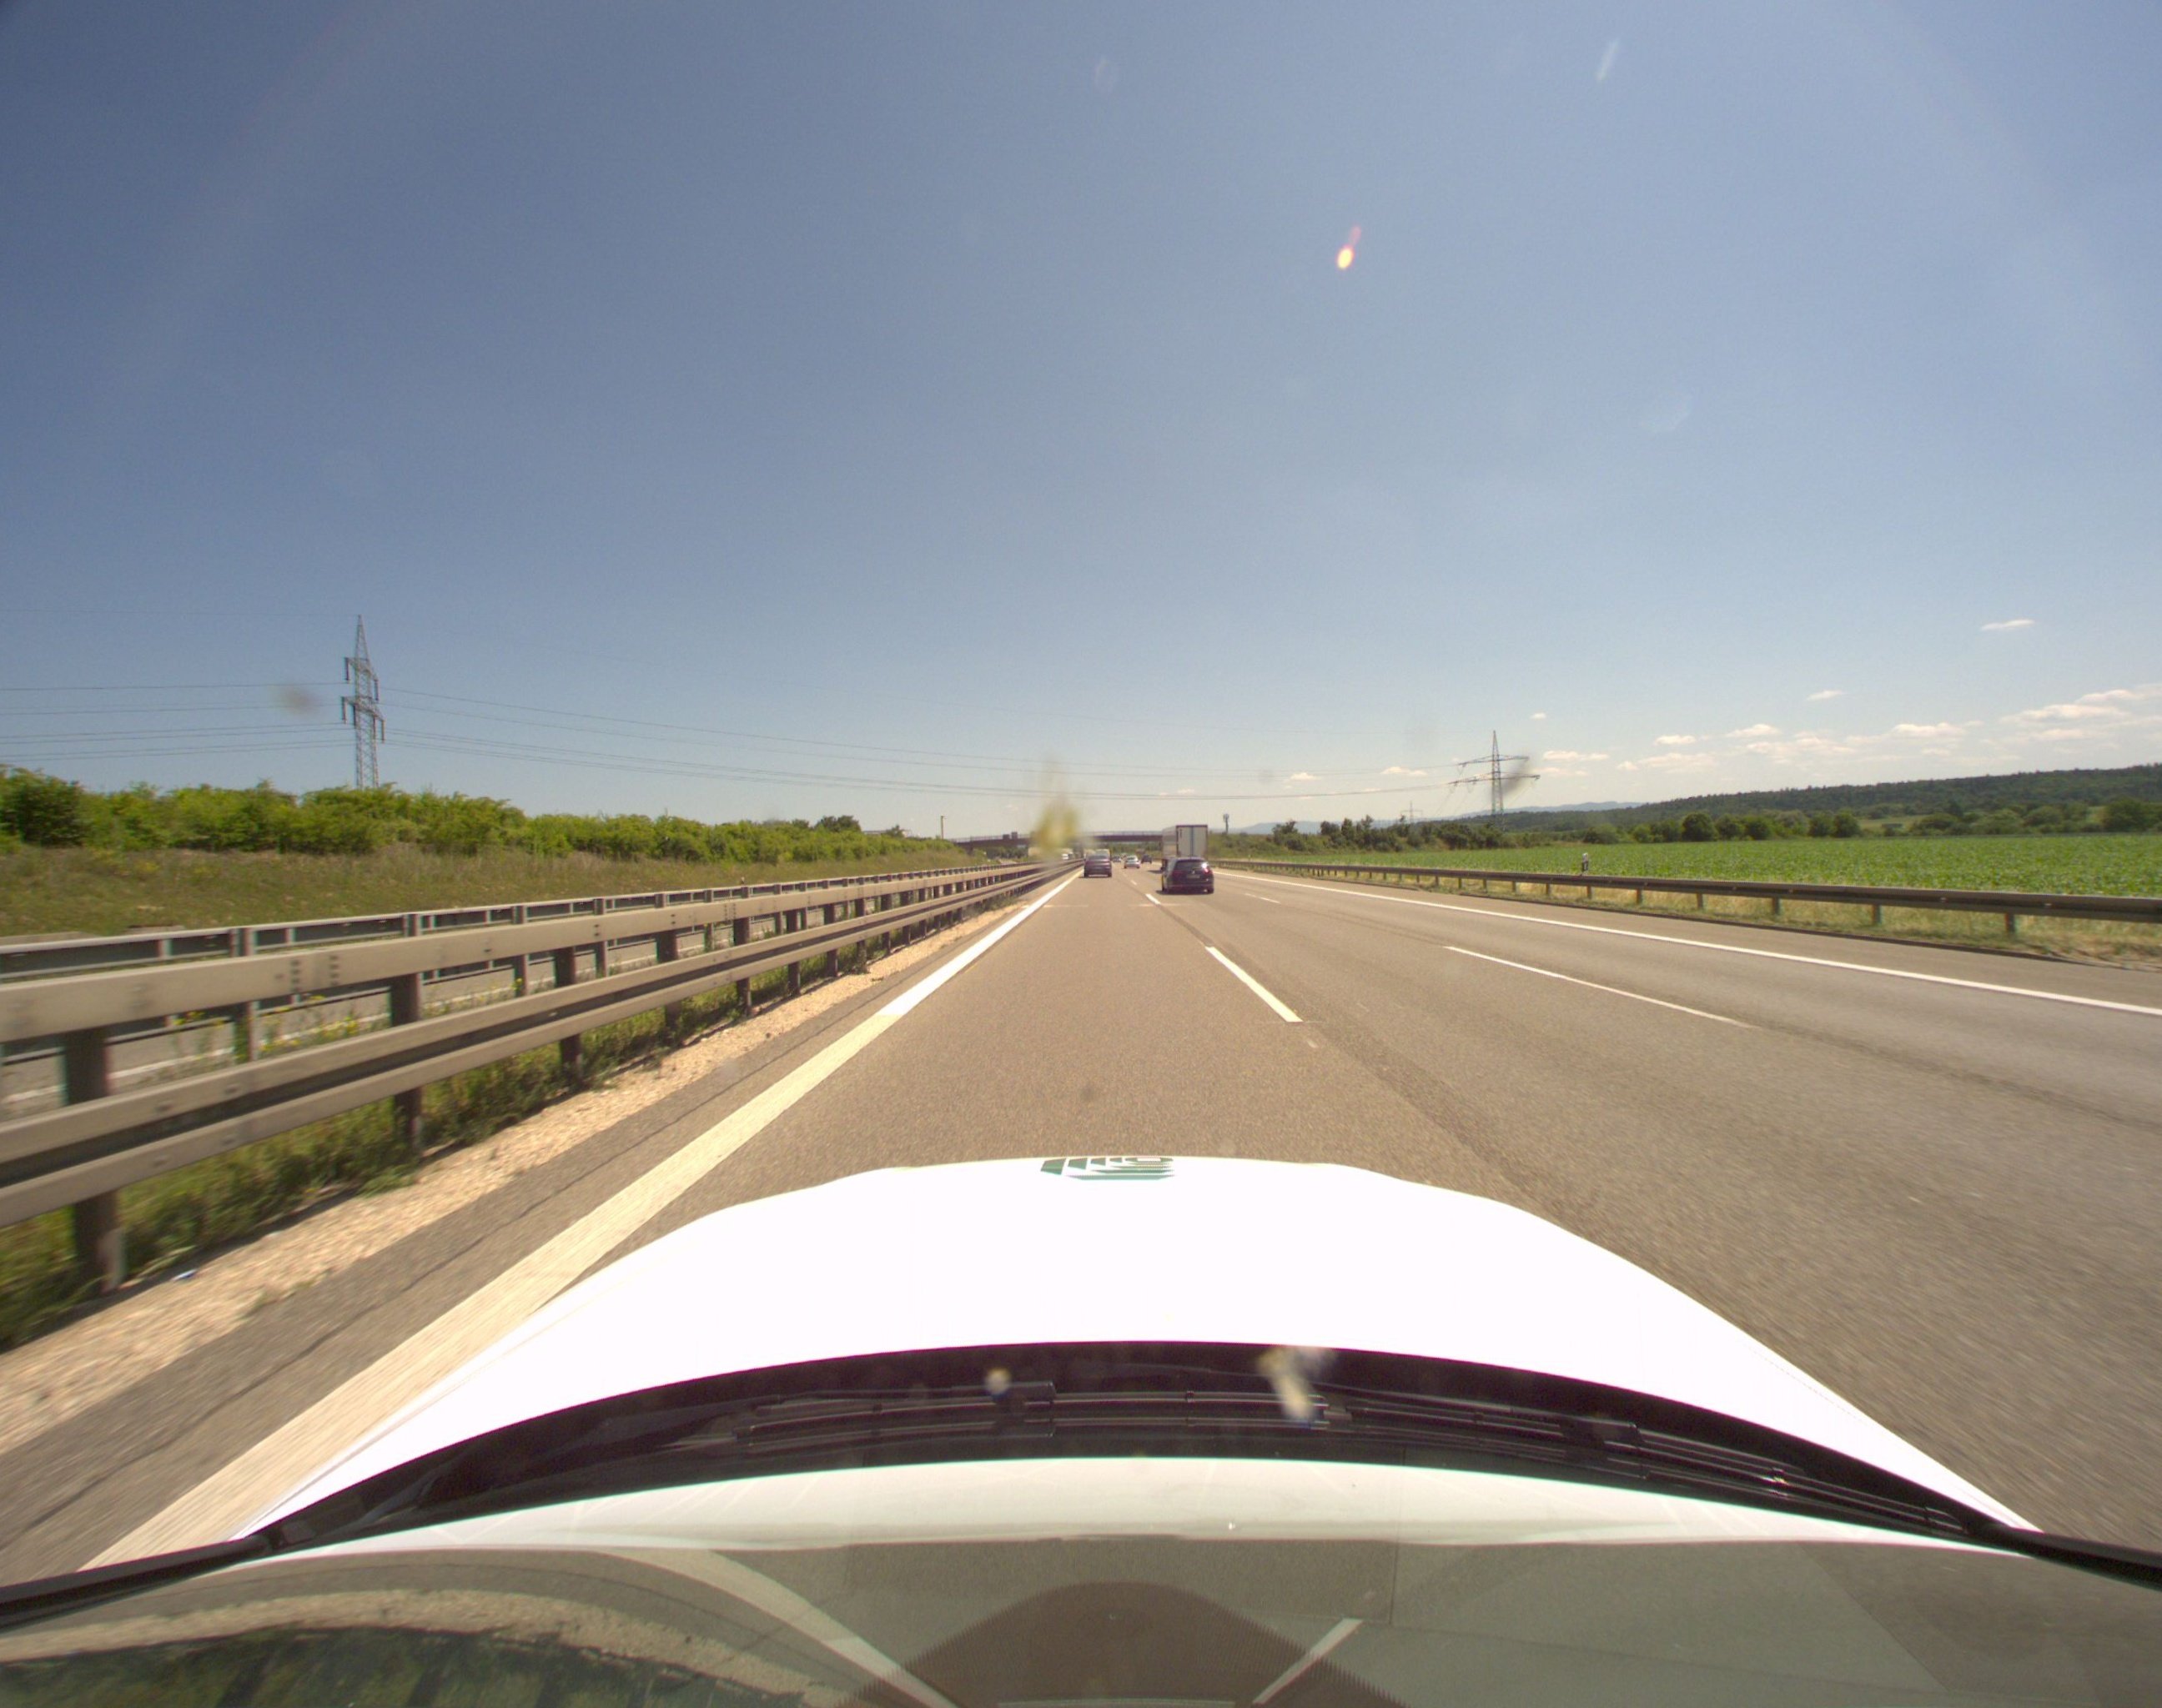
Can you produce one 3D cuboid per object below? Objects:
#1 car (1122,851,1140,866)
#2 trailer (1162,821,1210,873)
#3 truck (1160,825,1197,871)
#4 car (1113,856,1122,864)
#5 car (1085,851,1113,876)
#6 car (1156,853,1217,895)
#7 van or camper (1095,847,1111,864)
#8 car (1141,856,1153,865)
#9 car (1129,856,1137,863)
[{"bbox_3d":[5.853,0.487,95.806,1.986,1.683,4.001,0,0,2],"label":"car"},{"bbox_3d":[9.230,-0.549,73.117,2.932,4.198,13.601,0,0,2],"label":"trailer"},{"bbox_3d":[9.466,-0.554,79.928,2.968,4.228,7.690,0,0,2],"label":"truck"},{"bbox_3d":[8.236,1.307,183.307,1.986,1.683,4.001,0,0,2],"label":"car"},{"bbox_3d":[1.252,0.660,58.253,1.846,1.664,3.733,0,0,-1],"label":"car"},{"bbox_3d":[4.185,0.751,33.062,1.926,1.574,4.935,0,0,1],"label":"car"},{"bbox_3d":[2.947,0.190,107.767,2.103,2.211,5.267,0,0,2],"label":"van or camper"},{"bbox_3d":[12.120,1.150,148.782,1.986,1.683,4.001,0,0,2],"label":"car"},{"bbox_3d":[12.907,1.388,202.798,1.986,1.683,4.001,0,0,2],"label":"car"}]
